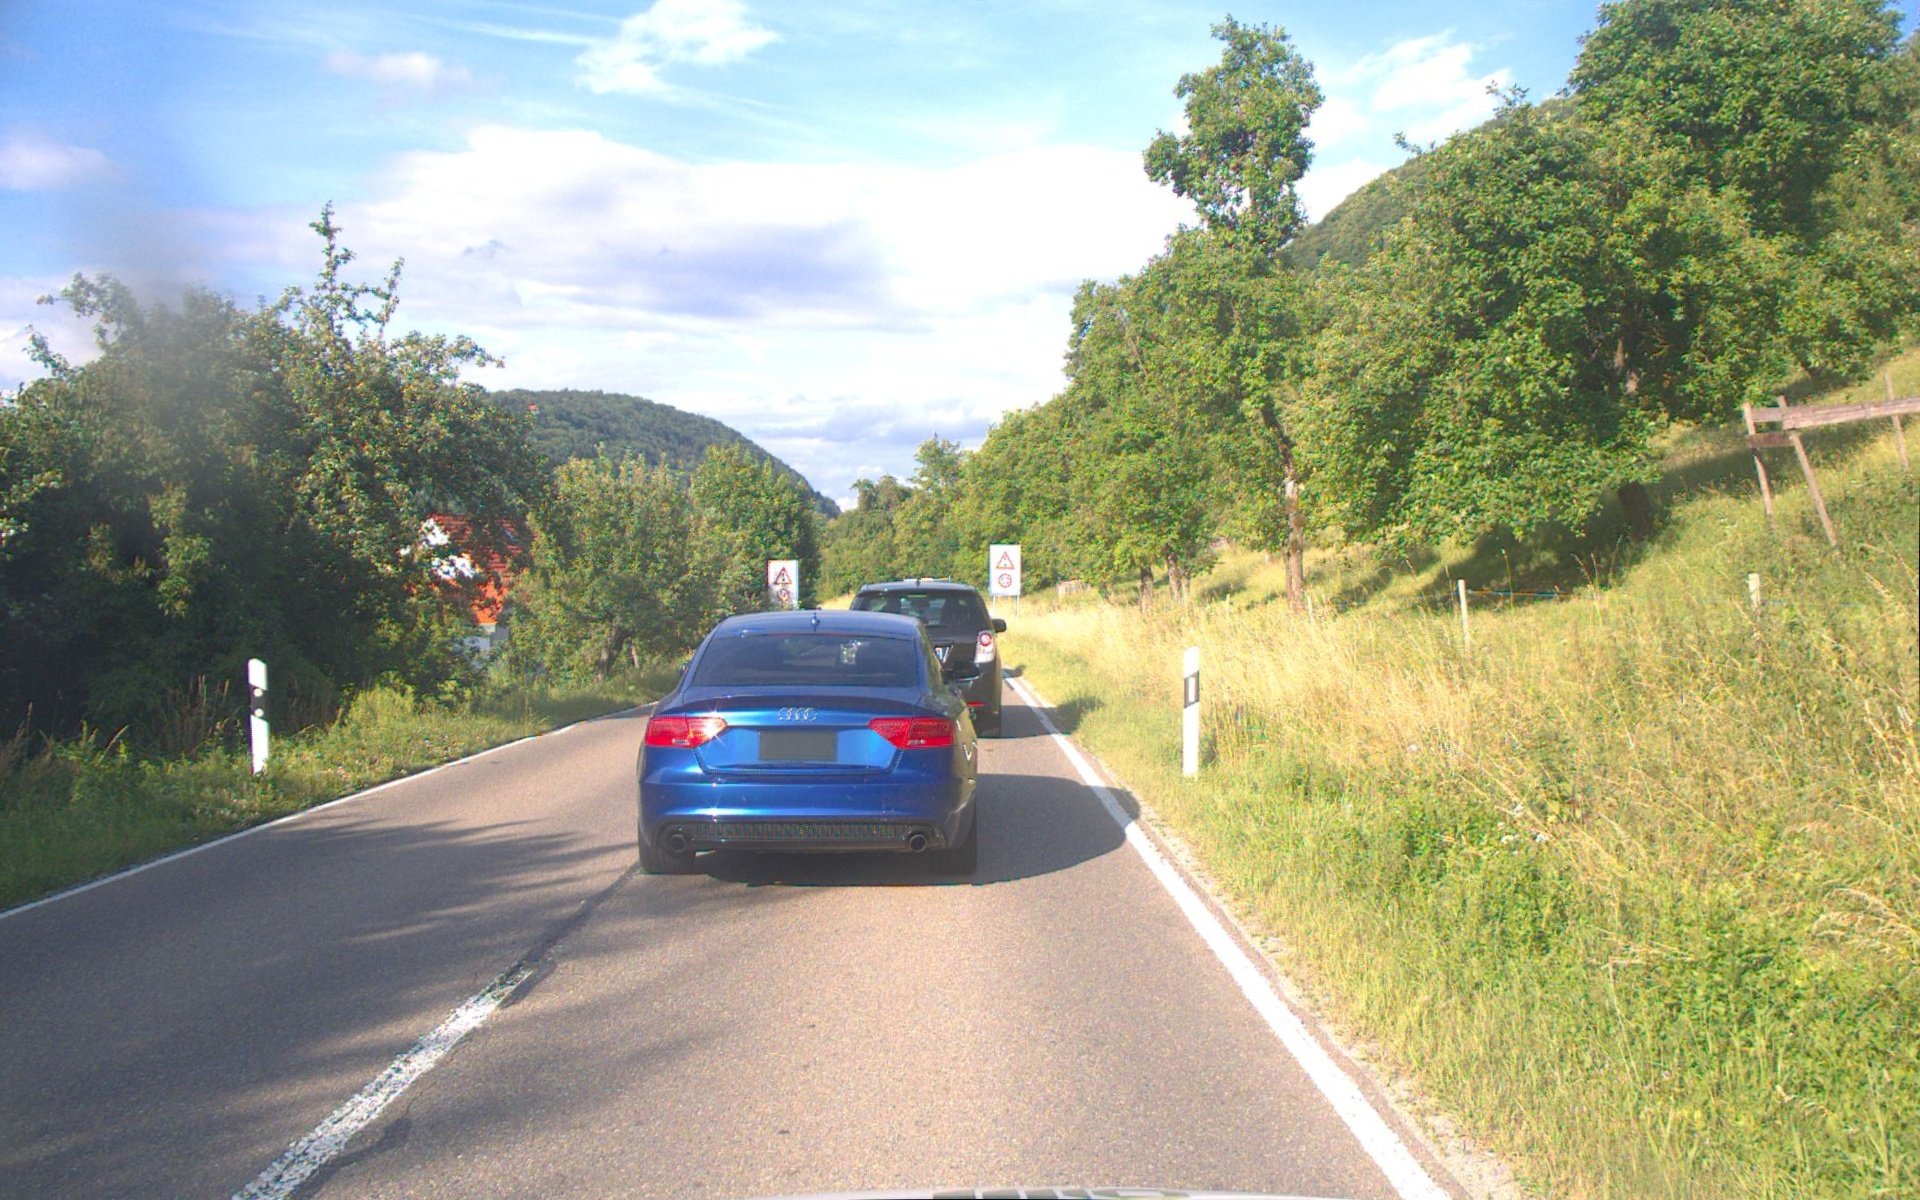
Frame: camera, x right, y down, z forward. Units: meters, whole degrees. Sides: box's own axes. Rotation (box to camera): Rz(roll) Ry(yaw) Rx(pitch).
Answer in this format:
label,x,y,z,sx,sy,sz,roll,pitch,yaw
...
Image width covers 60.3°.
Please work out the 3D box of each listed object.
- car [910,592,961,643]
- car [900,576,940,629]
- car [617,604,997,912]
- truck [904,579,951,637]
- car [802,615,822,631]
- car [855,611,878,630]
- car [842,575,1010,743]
label,x,y,z,sx,sy,sz,roll,pitch,yaw
car,-0.832,0.562,56.137,1.658,1.652,3.788,0,0,-1
car,-1.989,0.118,81.348,1.757,2.496,3.916,1,0,-4
car,-0.732,0.740,9.820,1.769,1.406,4.214,0,0,-1
truck,-1.412,0.331,71.262,1.910,2.386,5.092,1,0,-2
car,-15.210,2.314,170.031,1.532,1.522,3.765,2,0,-13
car,-7.767,1.707,137.627,1.530,1.522,3.770,1,0,-9
car,-0.370,0.575,18.231,1.658,1.652,3.788,0,0,-1
